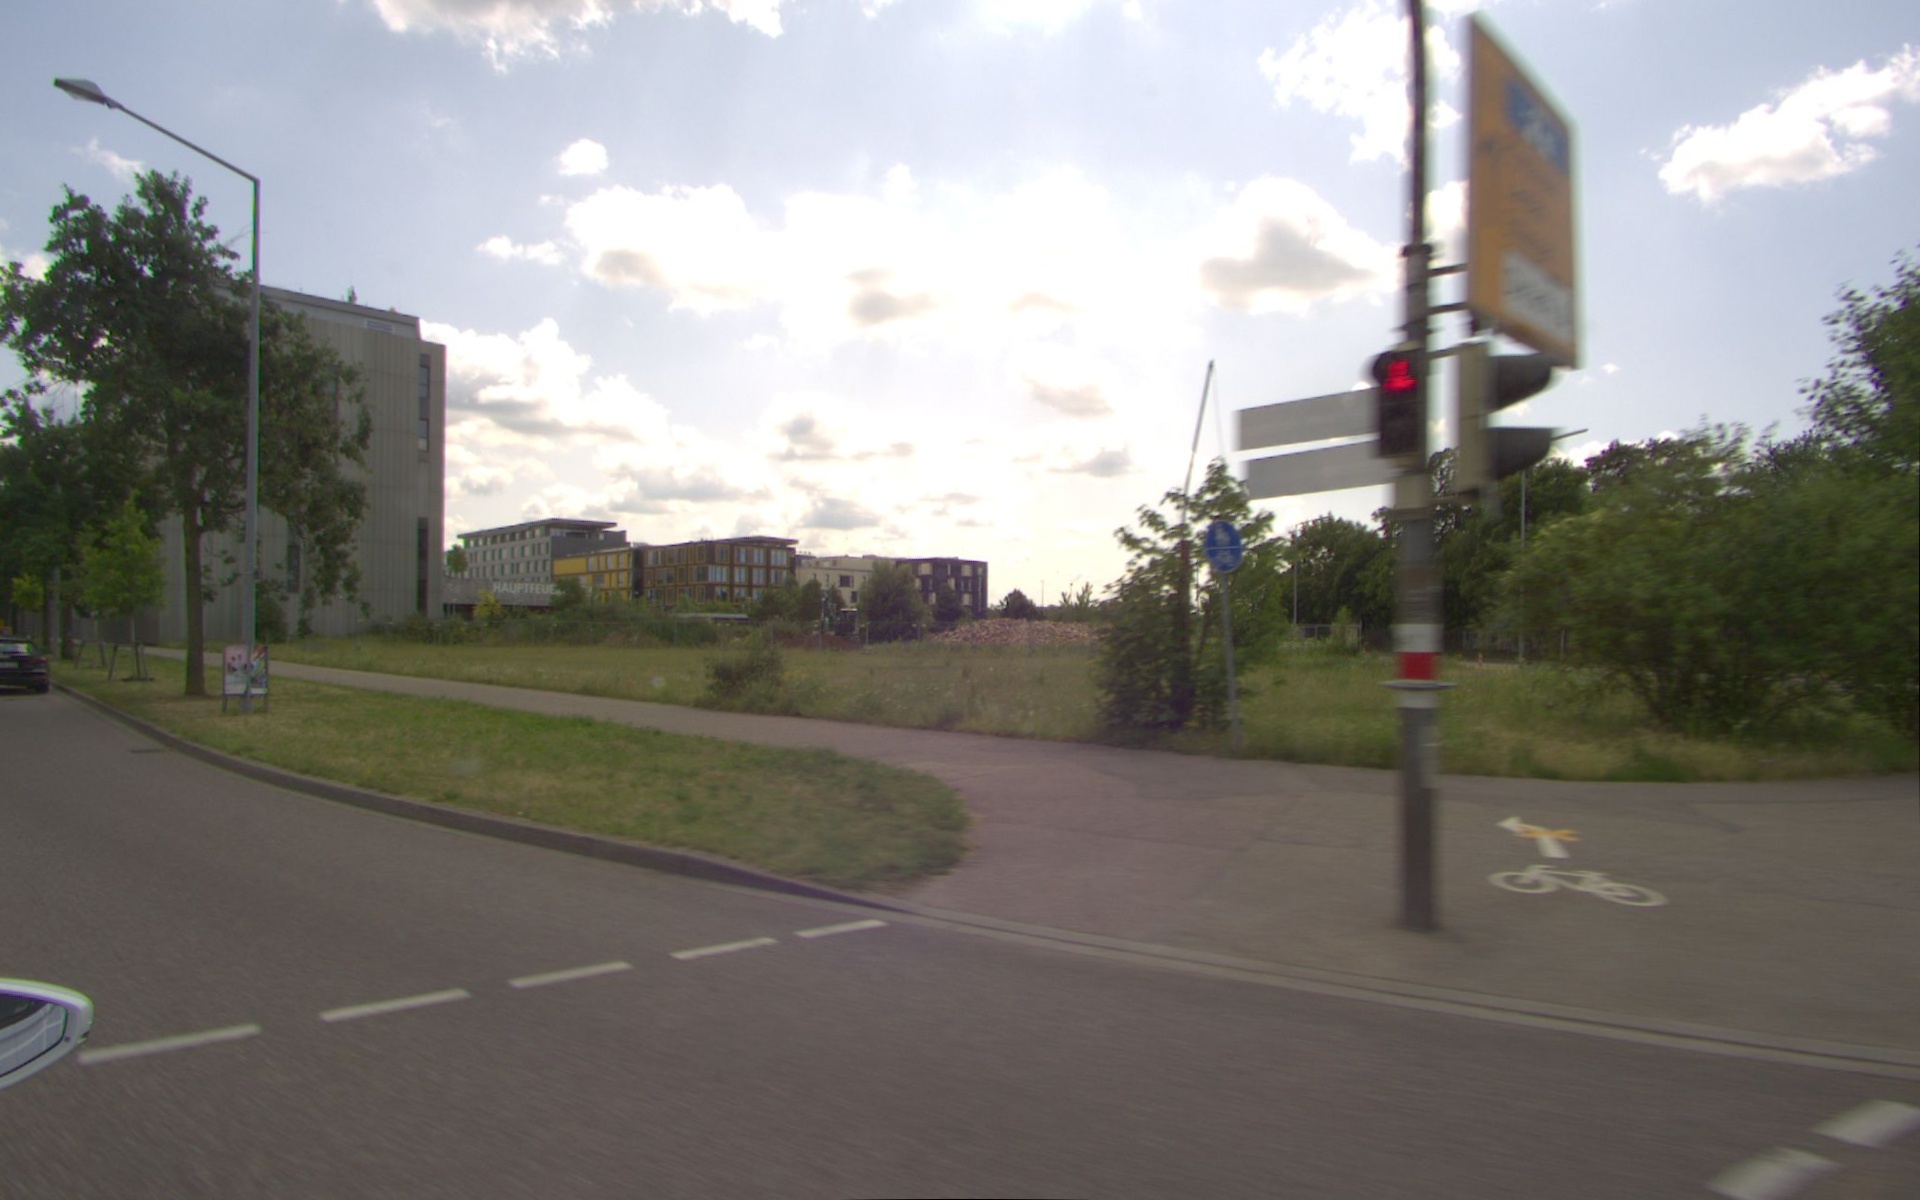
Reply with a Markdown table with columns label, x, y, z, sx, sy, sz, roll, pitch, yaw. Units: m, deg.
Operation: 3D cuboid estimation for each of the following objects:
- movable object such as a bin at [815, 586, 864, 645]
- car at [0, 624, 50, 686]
| label | x | y | z | sx | sy | sz | roll | pitch | yaw |
| --- | --- | --- | --- | --- | --- | --- | --- | --- | --- |
| movable object such as a bin | -8.794 | 1.254 | 74.088 | 2.990 | 3.899 | 7.625 | 1 | -4 | -3 |
| car | -24.361 | 1.346 | 25.286 | 3.957 | 1.481 | 1.676 | -2 | -4 | 43 |
